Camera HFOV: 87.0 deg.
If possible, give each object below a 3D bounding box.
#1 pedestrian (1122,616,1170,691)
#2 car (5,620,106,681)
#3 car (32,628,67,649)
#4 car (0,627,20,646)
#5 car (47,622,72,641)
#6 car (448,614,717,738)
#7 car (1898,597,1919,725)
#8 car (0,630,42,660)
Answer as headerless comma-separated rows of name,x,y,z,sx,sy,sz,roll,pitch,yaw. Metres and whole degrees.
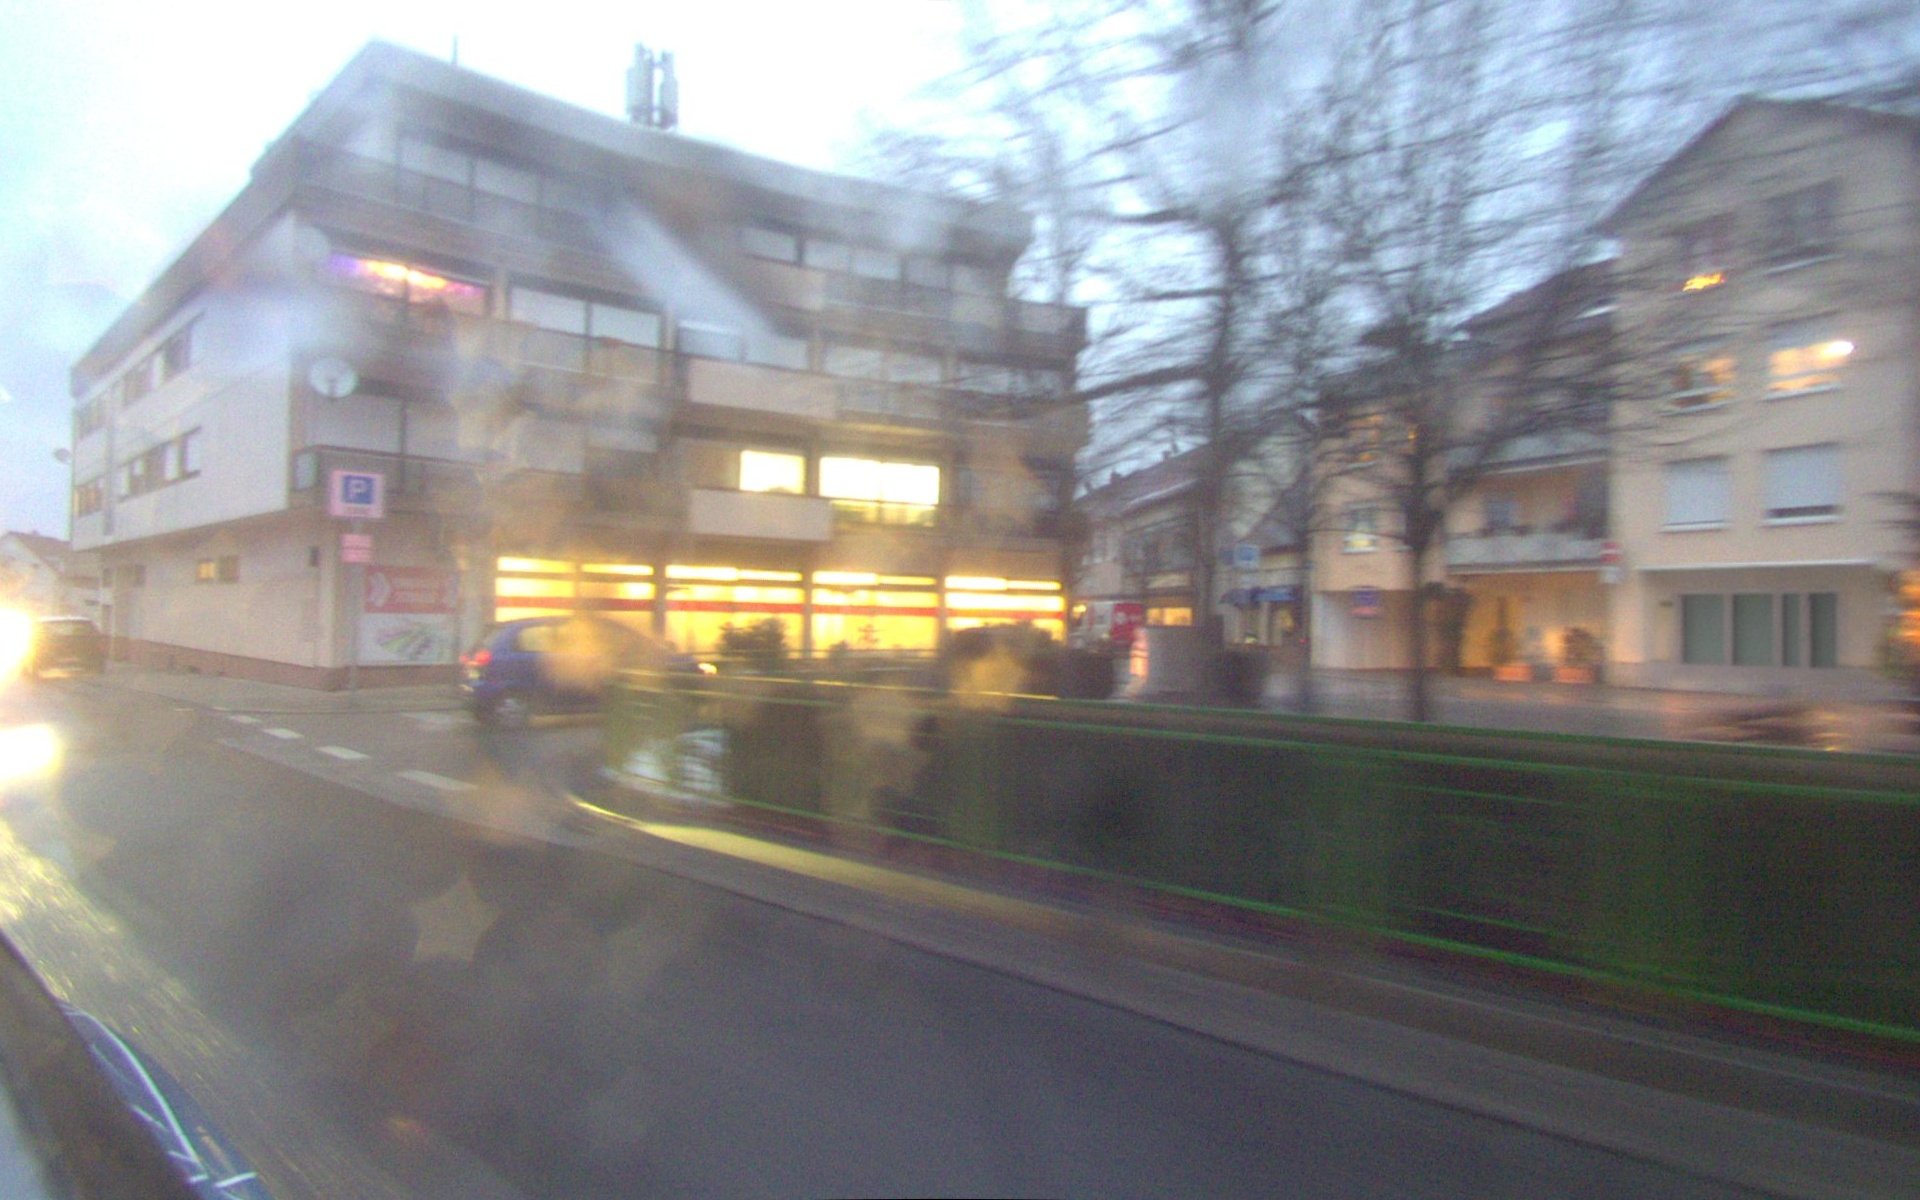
pedestrian,3.417,0.967,18.607,0.611,1.349,0.569,0,-2,-35
car,-26.384,1.424,29.493,3.827,1.629,1.874,-2,-1,43
car,-65.782,2.738,73.156,1.751,1.460,3.833,0,-1,-40
car,-86.182,3.276,91.207,1.809,1.726,3.707,0,-1,-38
car,-101.258,3.506,113.845,1.808,2.029,3.708,0,-1,-37
car,-5.257,0.977,14.201,3.256,1.519,1.505,0,-1,-36
car,13.494,0.700,11.870,3.931,1.519,1.928,0,-2,-18
car,-54.859,2.590,59.040,1.865,1.692,4.005,0,-1,-42
